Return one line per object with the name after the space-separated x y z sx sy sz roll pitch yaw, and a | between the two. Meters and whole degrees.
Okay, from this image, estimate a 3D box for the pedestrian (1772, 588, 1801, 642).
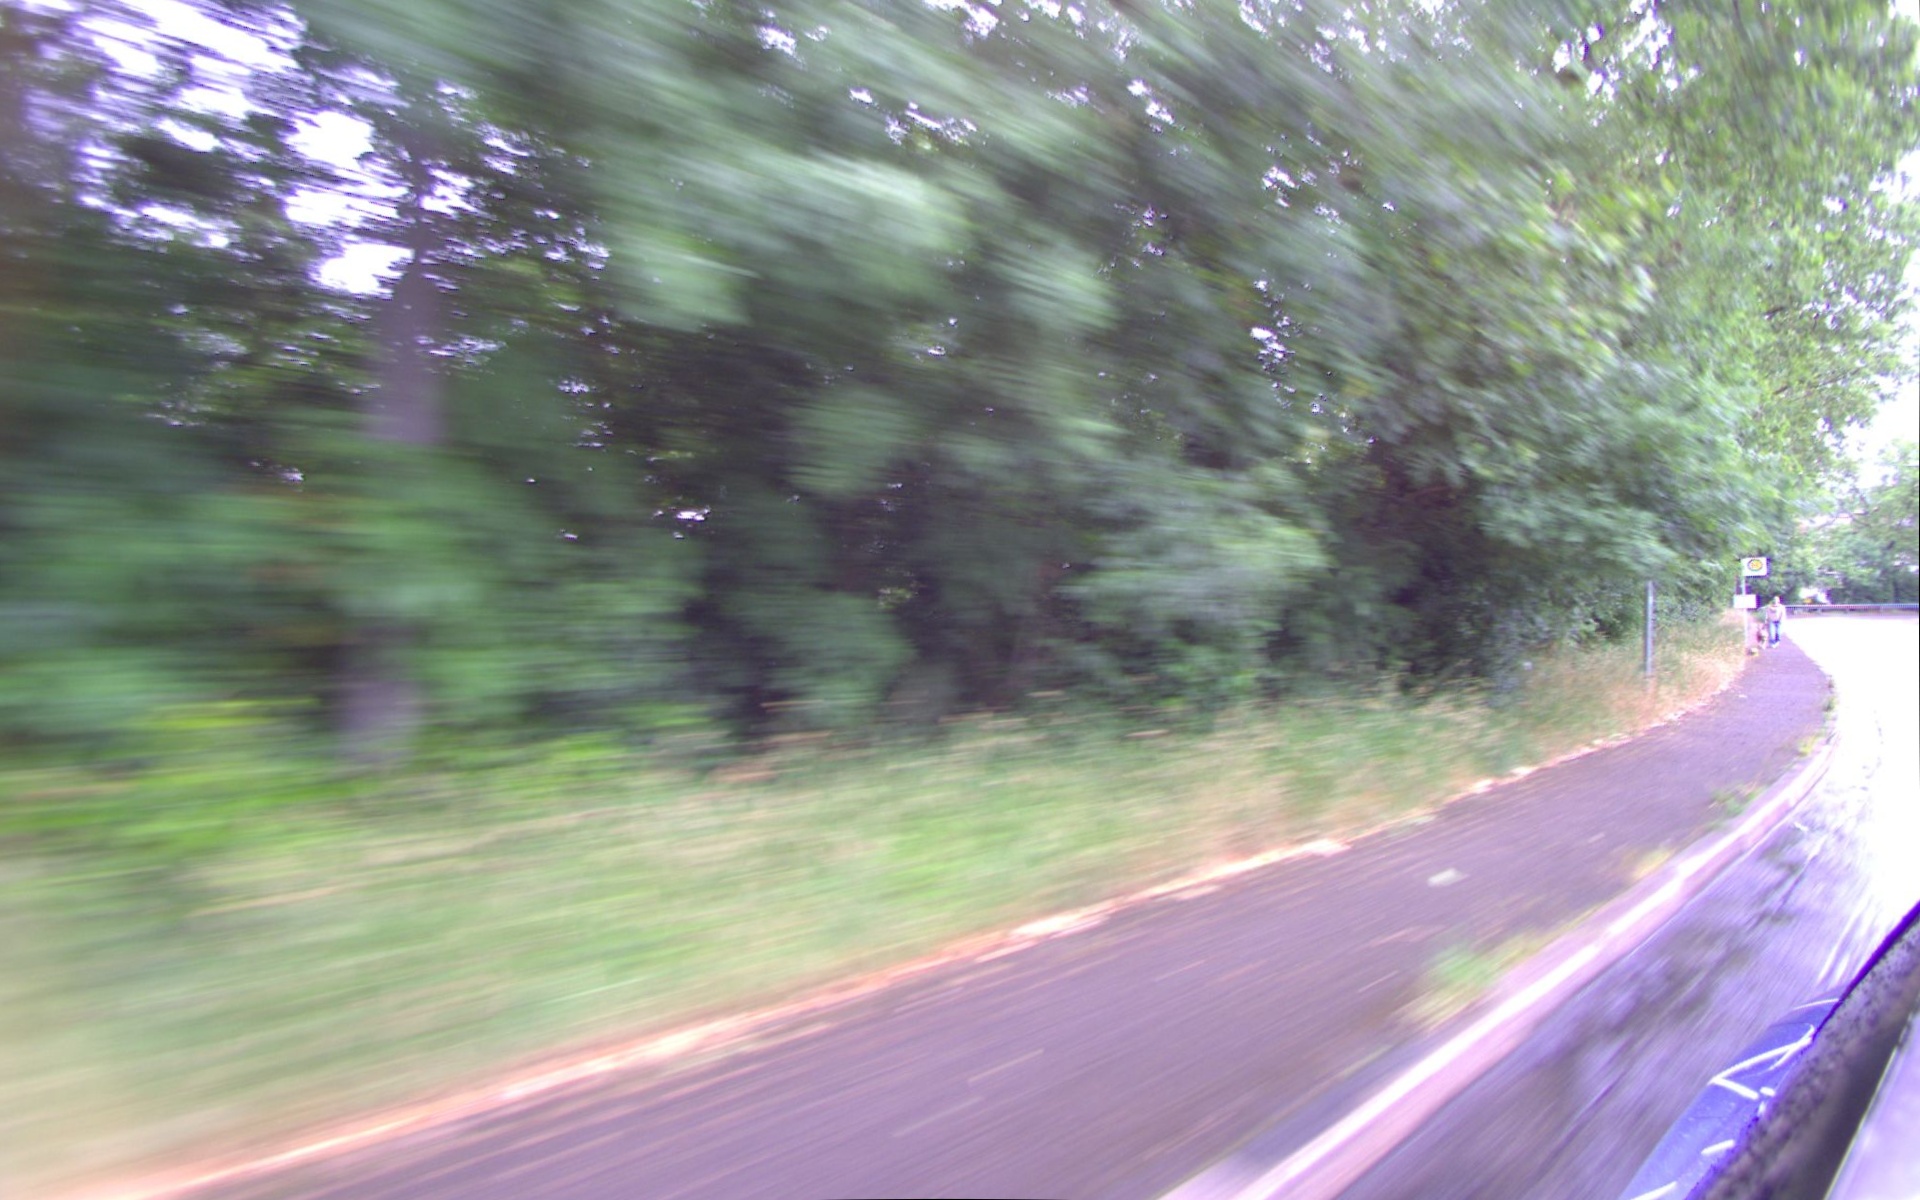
25.603 0.443 31.369 0.640 1.631 0.661 1 2 38 | pedestrian
